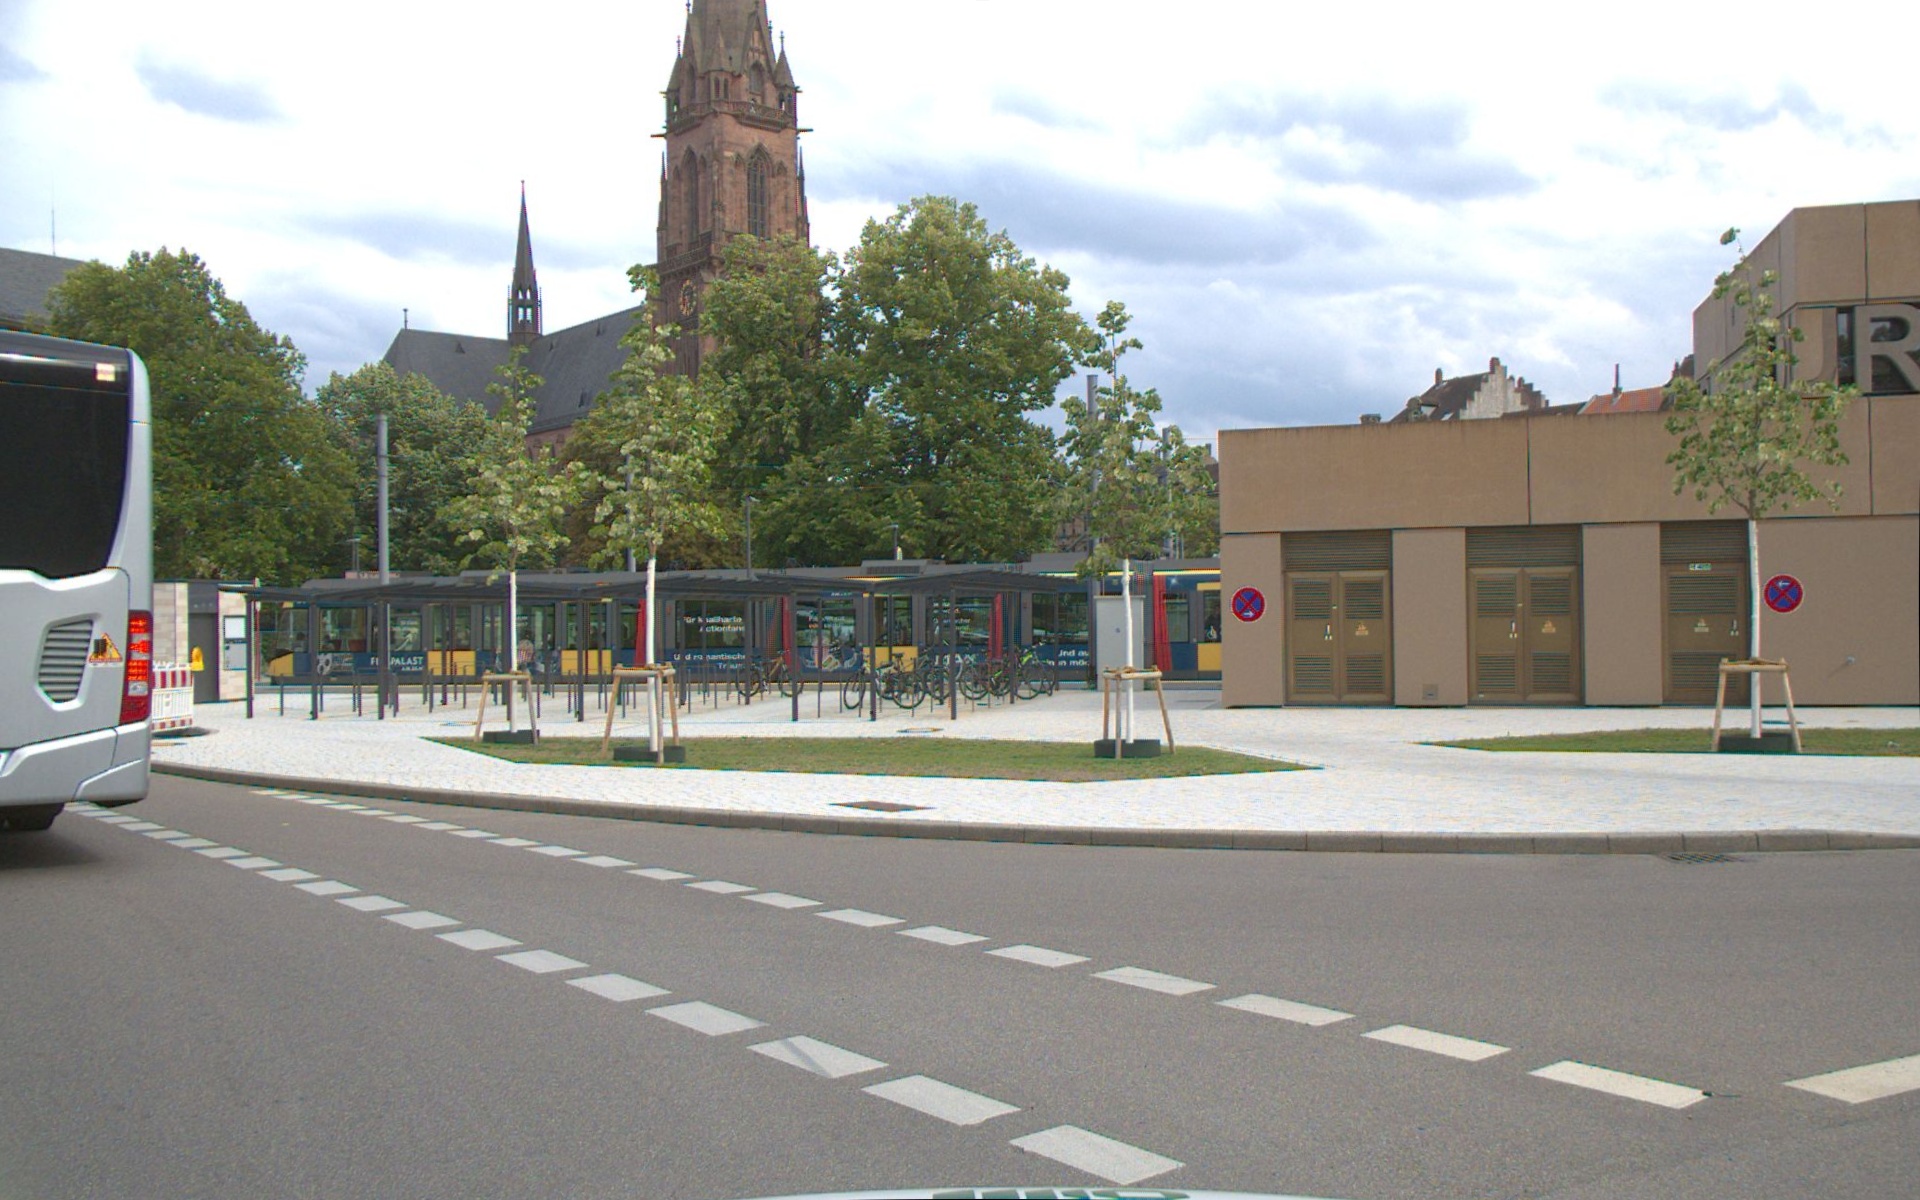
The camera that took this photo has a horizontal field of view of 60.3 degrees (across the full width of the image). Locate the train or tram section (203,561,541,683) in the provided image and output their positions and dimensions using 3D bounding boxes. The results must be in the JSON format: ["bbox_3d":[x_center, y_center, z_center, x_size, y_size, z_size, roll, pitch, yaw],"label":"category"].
[{"bbox_3d":[-17.085,0.558,48.128,9.141,3.334,3.065,1,1,15],"label":"train or tram section"}]

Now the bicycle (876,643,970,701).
[{"bbox_3d":[-0.774,1.516,35.013,1.918,1.176,0.584,0,0,6],"label":"bicycle"}]

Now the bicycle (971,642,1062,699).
[{"bbox_3d":[1.234,1.519,35.881,1.918,1.176,0.584,0,0,6],"label":"bicycle"}]

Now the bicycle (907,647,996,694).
[{"bbox_3d":[-0.191,1.586,37.230,1.918,0.987,0.584,1,0,12],"label":"bicycle"}]

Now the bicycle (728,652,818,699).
[{"bbox_3d":[-4.186,1.685,37.056,1.918,0.971,0.584,1,0,12],"label":"bicycle"}]

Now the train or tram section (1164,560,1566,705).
[{"bbox_3d":[9.892,0.700,40.864,9.270,3.303,3.065,1,1,15],"label":"train or tram section"}]

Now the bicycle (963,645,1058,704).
[{"bbox_3d":[1.055,1.537,34.434,1.918,1.176,0.584,0,0,6],"label":"bicycle"}]

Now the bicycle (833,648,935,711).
[{"bbox_3d":[-1.477,1.546,32.313,1.918,1.176,0.584,0,0,6],"label":"bicycle"}]

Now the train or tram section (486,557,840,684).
[{"bbox_3d":[-8.191,0.491,45.749,9.199,3.269,3.065,1,1,15],"label":"train or tram section"}]

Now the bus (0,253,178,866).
[{"bbox_3d":[-10.093,0.032,14.662,2.686,3.499,13.986,0,-2,-38],"label":"bus"}]

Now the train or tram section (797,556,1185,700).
[{"bbox_3d":[0.830,0.631,43.314,9.687,3.510,3.065,1,1,15],"label":"train or tram section"}]
